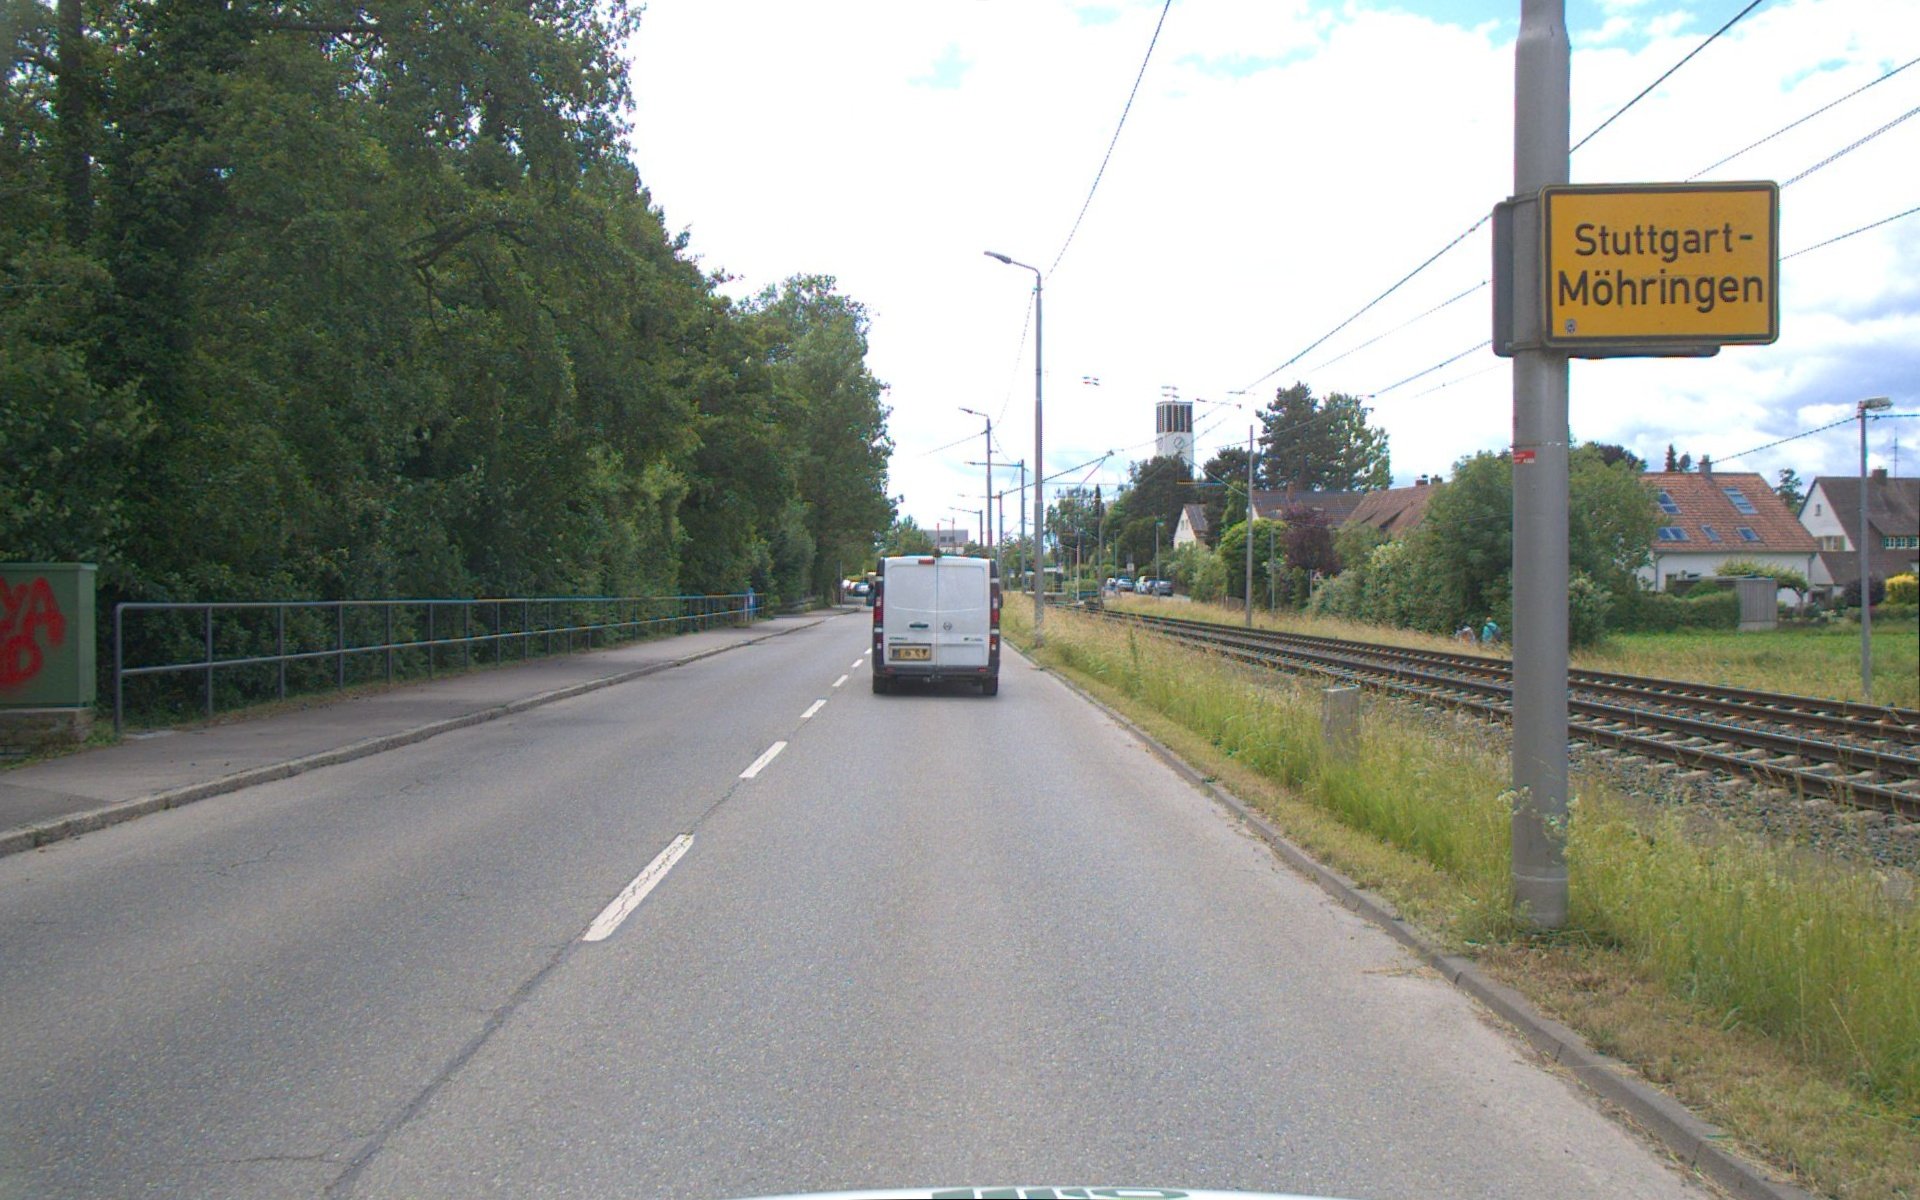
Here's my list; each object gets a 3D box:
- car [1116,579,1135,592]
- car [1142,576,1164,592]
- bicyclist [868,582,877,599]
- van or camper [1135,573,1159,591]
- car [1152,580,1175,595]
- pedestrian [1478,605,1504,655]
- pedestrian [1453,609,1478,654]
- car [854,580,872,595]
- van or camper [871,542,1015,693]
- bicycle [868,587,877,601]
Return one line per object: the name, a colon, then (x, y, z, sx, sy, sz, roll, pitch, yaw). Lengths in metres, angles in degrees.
car: (19.684, -1.773, 196.526, 1.845, 1.548, 4.000, 0, 1, 0)
car: (19.831, -1.644, 170.016, 1.845, 1.548, 4.000, 0, 1, 0)
bicyclist: (-8.115, -0.925, 153.625, 0.762, 1.576, 0.869, 0, 0, -1)
van or camper: (19.738, -1.861, 174.734, 1.866, 1.857, 5.047, 0, 1, 0)
car: (20.135, -1.250, 163.821, 1.845, 1.548, 4.000, 0, 1, 0)
pedestrian: (17.650, 0.996, 54.989, 0.604, 1.650, 0.584, 2, 0, -1)
pedestrian: (16.782, 1.035, 54.905, 0.585, 1.455, 0.666, 2, 0, 0)
car: (-10.892, -1.393, 185.400, 1.704, 1.531, 4.470, -2, 1, -7)
van or camper: (-0.260, 0.234, 25.037, 1.953, 2.049, 4.445, 1, 0, -1)
bicycle: (-8.125, -0.582, 153.473, 0.740, 1.248, 2.308, -2, 1, -1)
